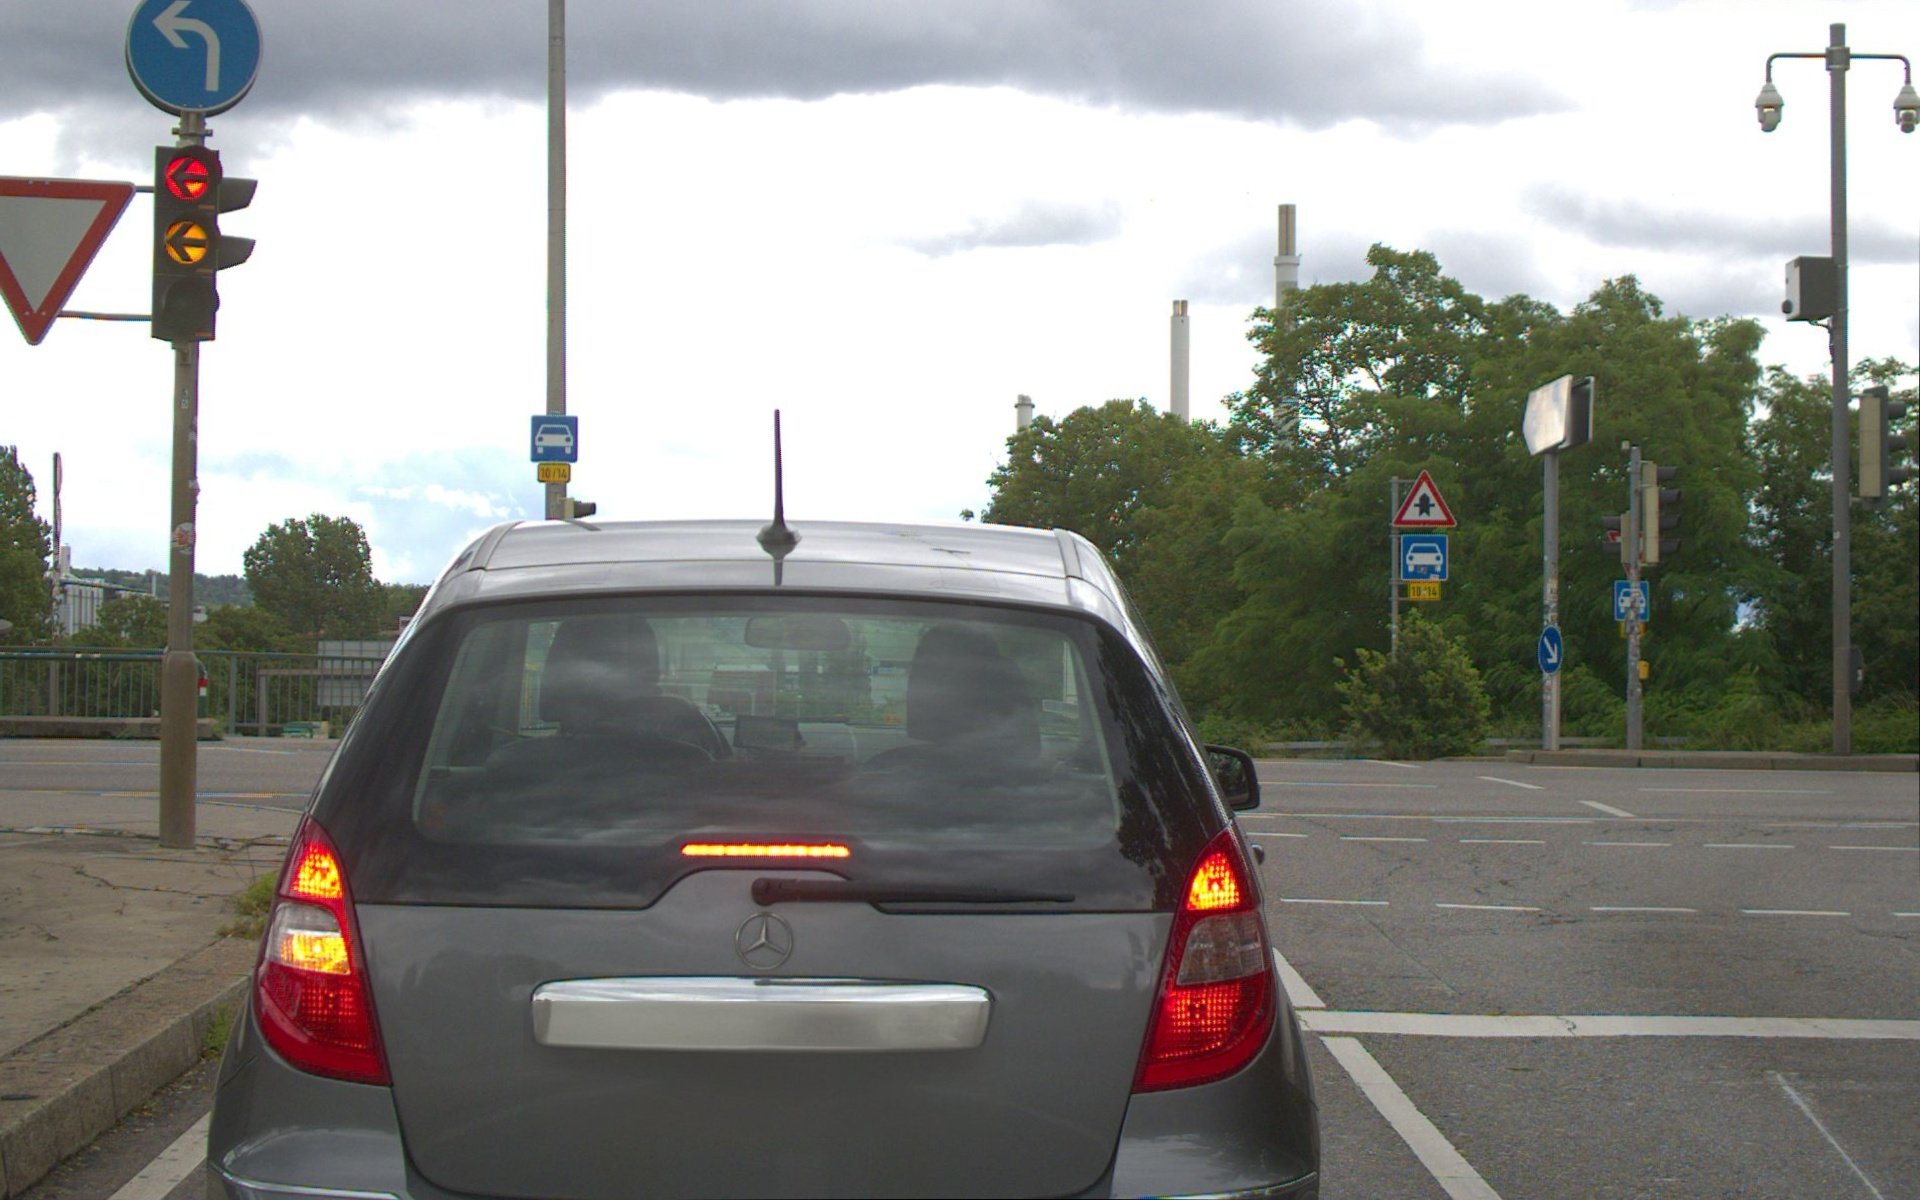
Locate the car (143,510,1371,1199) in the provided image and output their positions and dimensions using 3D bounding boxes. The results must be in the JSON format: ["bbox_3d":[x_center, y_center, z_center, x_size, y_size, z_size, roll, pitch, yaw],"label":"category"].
[{"bbox_3d":[-0.308,0.635,6.677,1.739,1.538,3.541,1,1,0],"label":"car"}]
